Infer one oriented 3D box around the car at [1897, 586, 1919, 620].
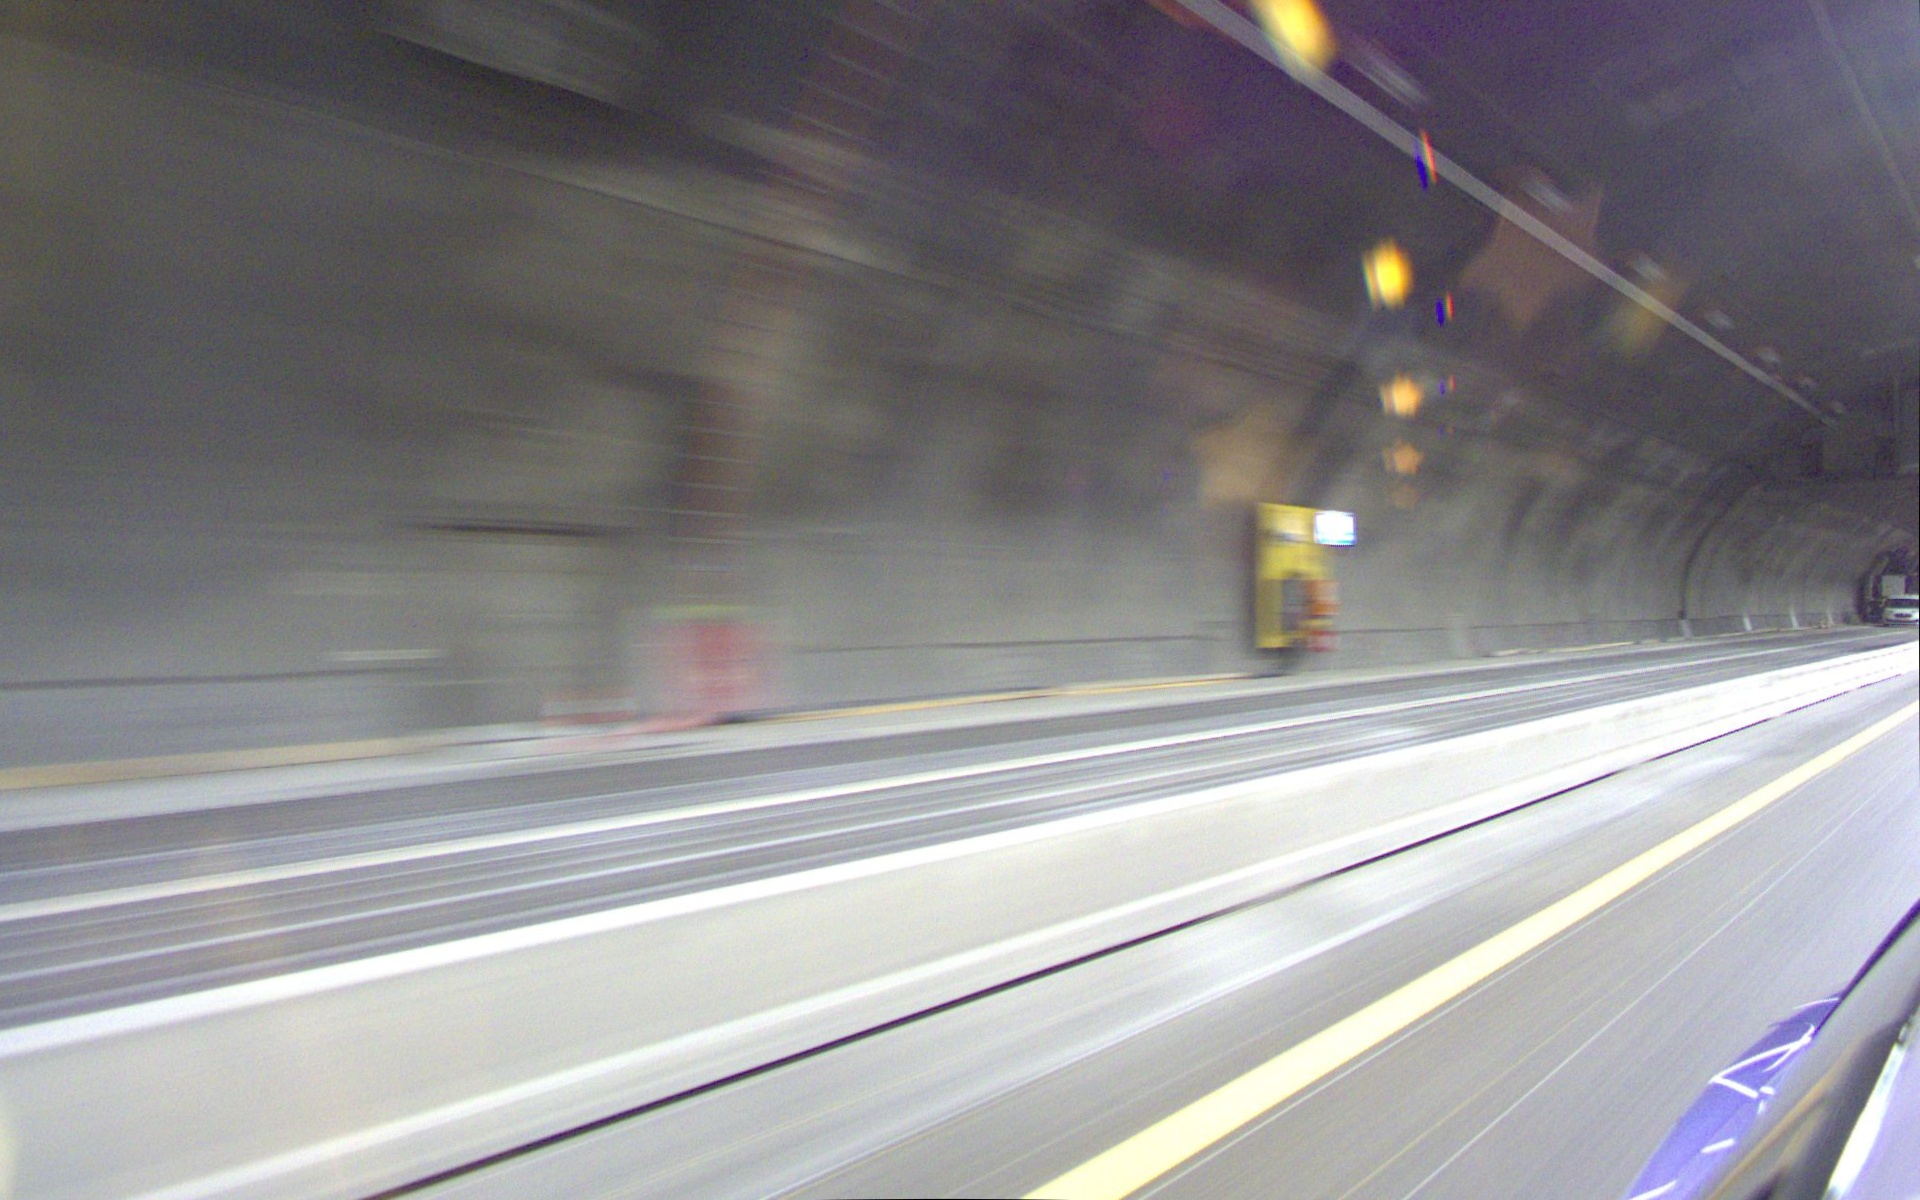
[{"bbox_3d":[54.381,0.155,57.325,1.752,1.868,4.570,1,1,45],"label":"car"}]
